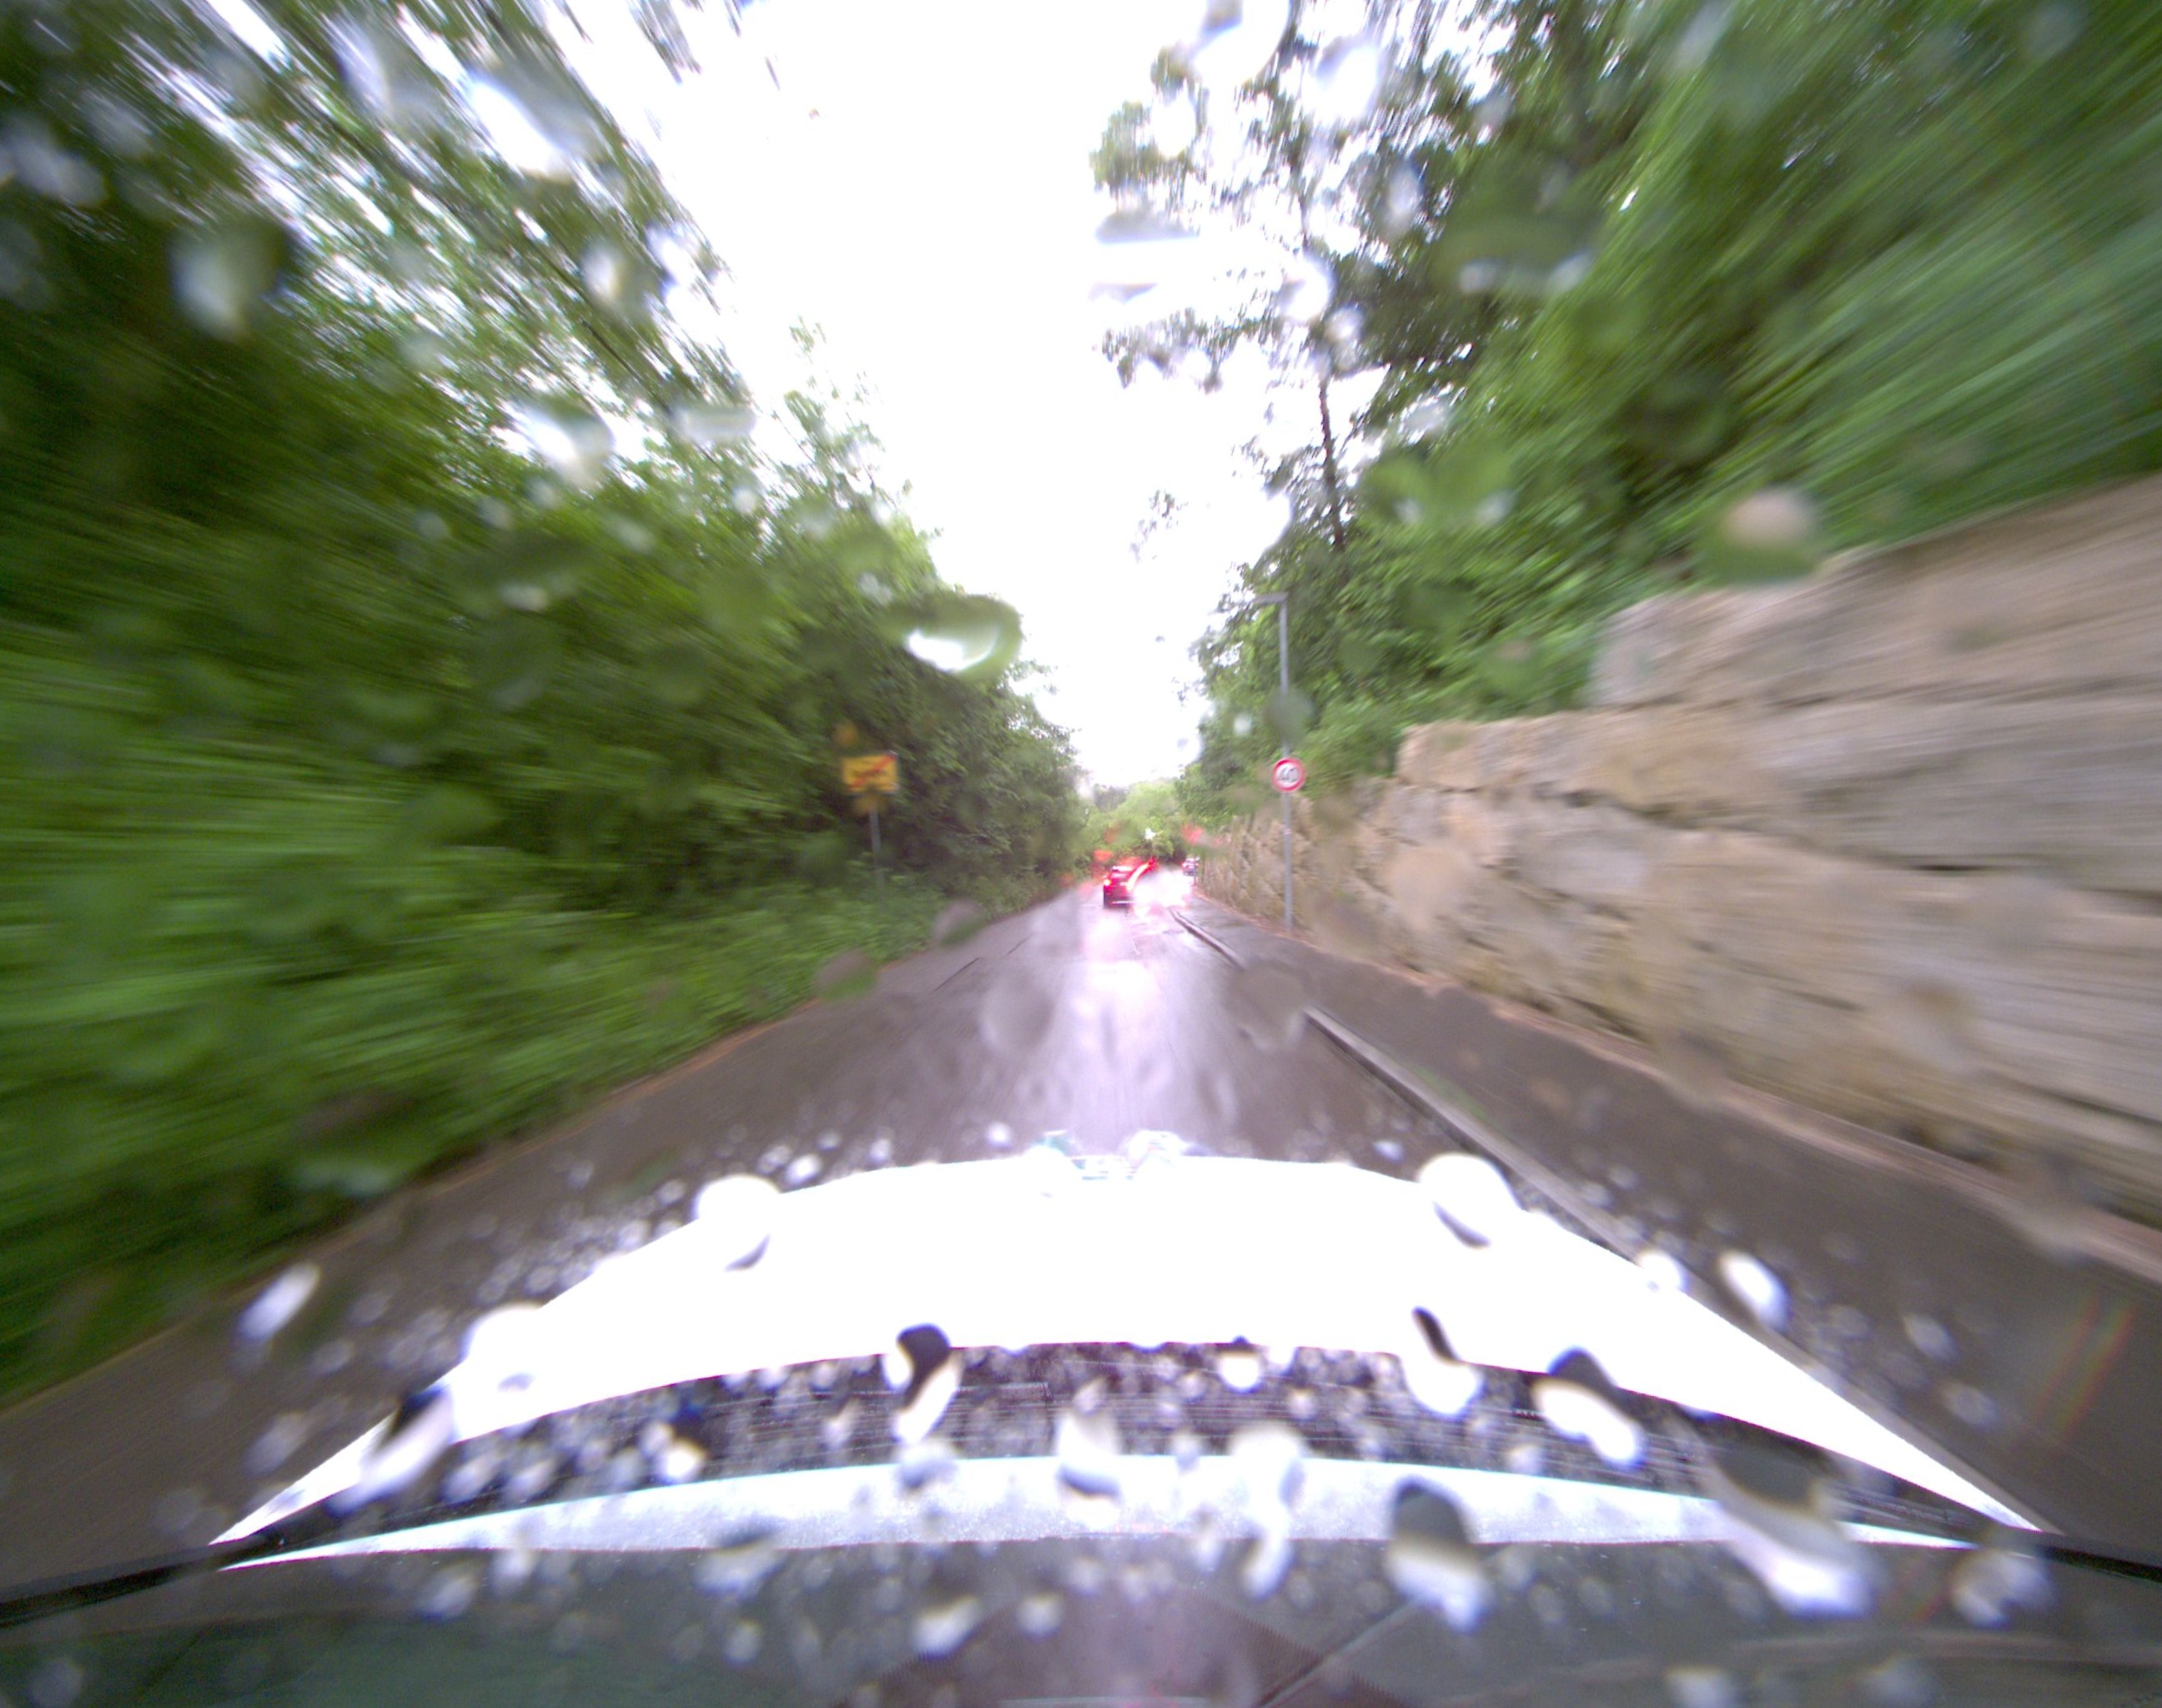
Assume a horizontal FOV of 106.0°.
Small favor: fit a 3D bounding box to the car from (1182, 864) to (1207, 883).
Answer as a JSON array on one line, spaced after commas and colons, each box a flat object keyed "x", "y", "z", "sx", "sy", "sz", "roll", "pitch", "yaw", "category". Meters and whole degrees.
[{"x": 10.733, "y": 1.844, "z": 76.754, "sx": 1.849, "sy": 1.743, "sz": 4.016, "roll": 0, "pitch": -1, "yaw": 15, "category": "car"}]

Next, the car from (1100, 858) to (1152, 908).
[{"x": 1.603, "y": 1.029, "z": 30.231, "sx": 1.694, "sy": 1.450, "sz": 4.001, "roll": -2, "pitch": 3, "yaw": 0, "category": "car"}]
